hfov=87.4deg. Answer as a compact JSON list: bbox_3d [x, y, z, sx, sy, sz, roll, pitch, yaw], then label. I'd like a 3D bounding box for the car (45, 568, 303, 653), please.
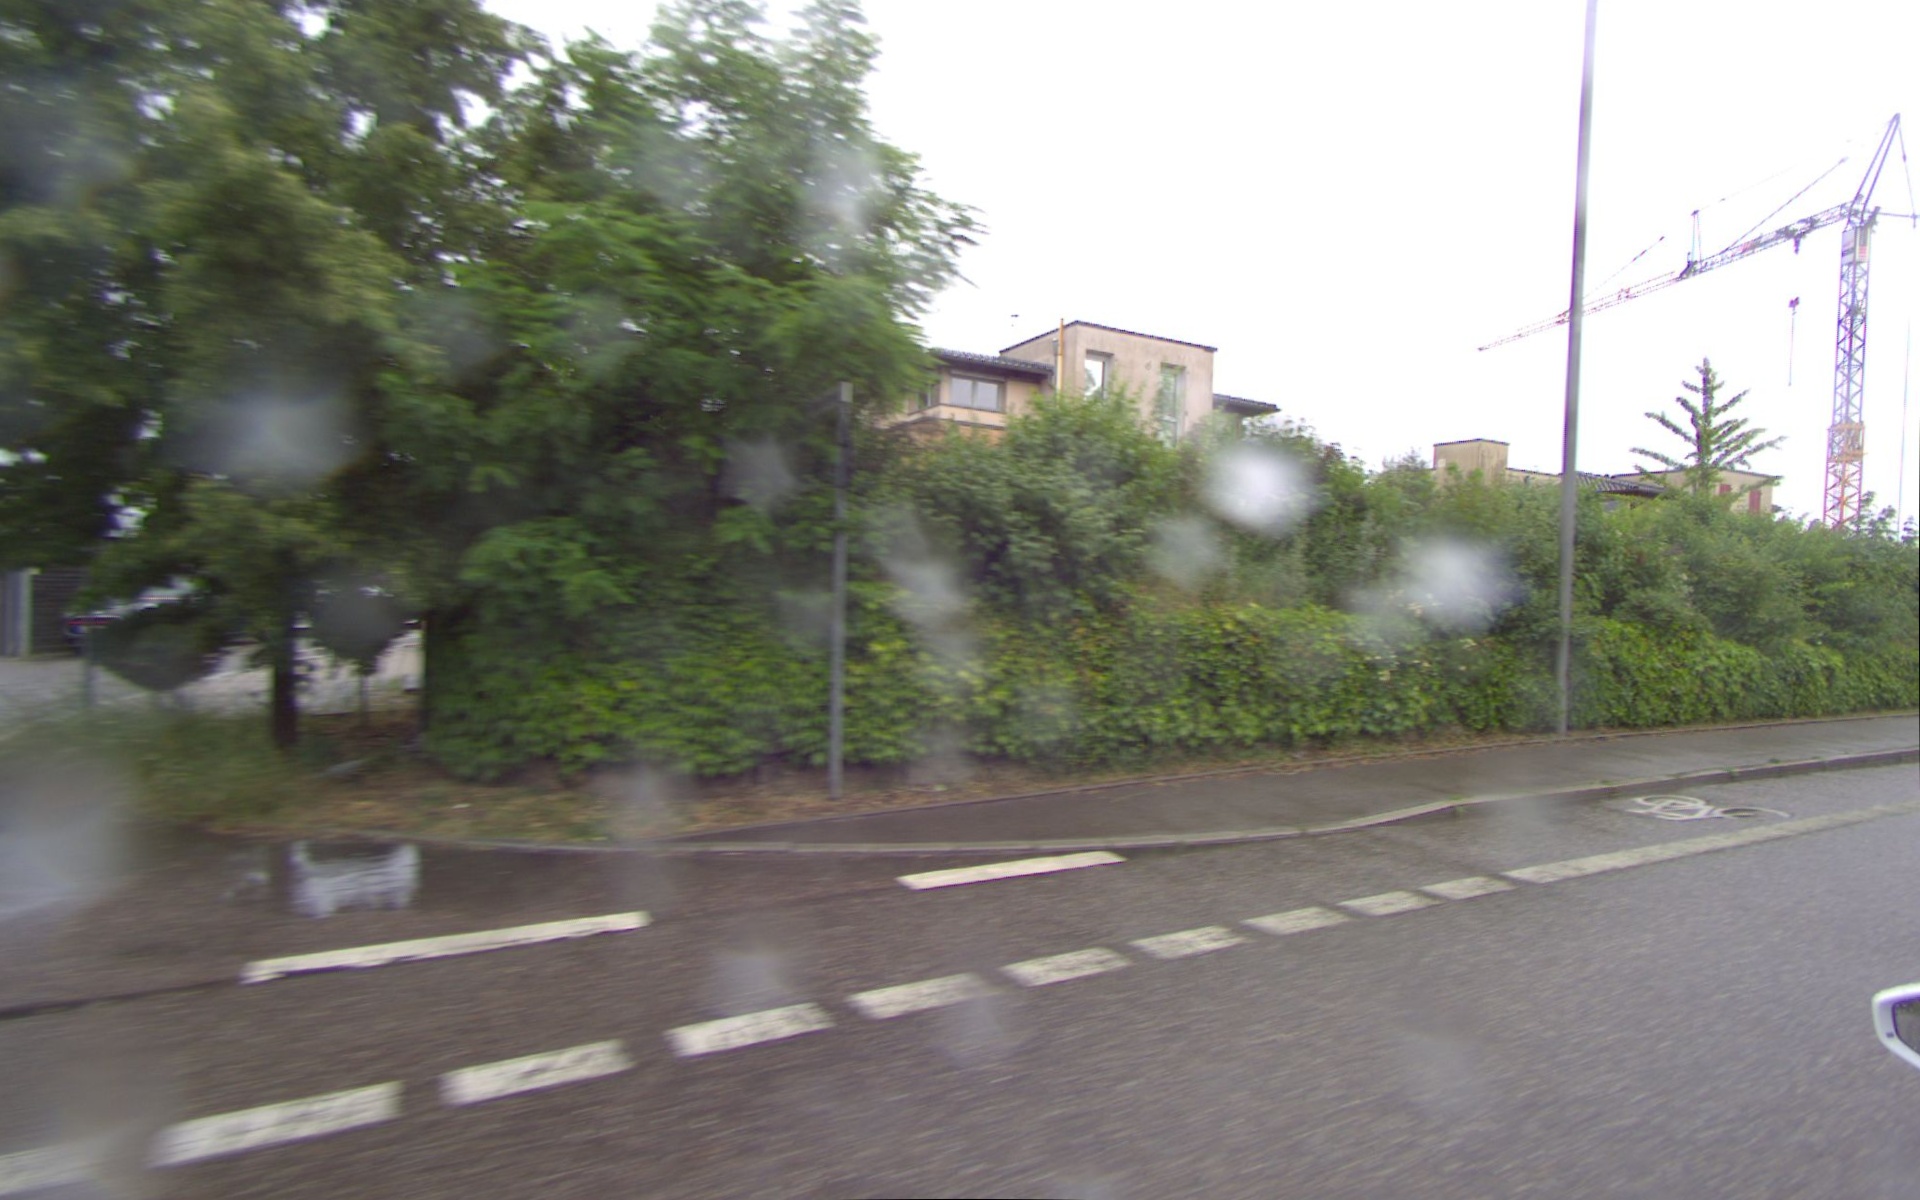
[{"bbox_3d":[-14.486,0.166,18.847,1.837,1.381,3.998,1,0,-3],"label":"car"}]

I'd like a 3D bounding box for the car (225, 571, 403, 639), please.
[{"bbox_3d":[-14.768,0.091,23.238,1.714,1.392,3.880,1,0,-2],"label":"car"}]
